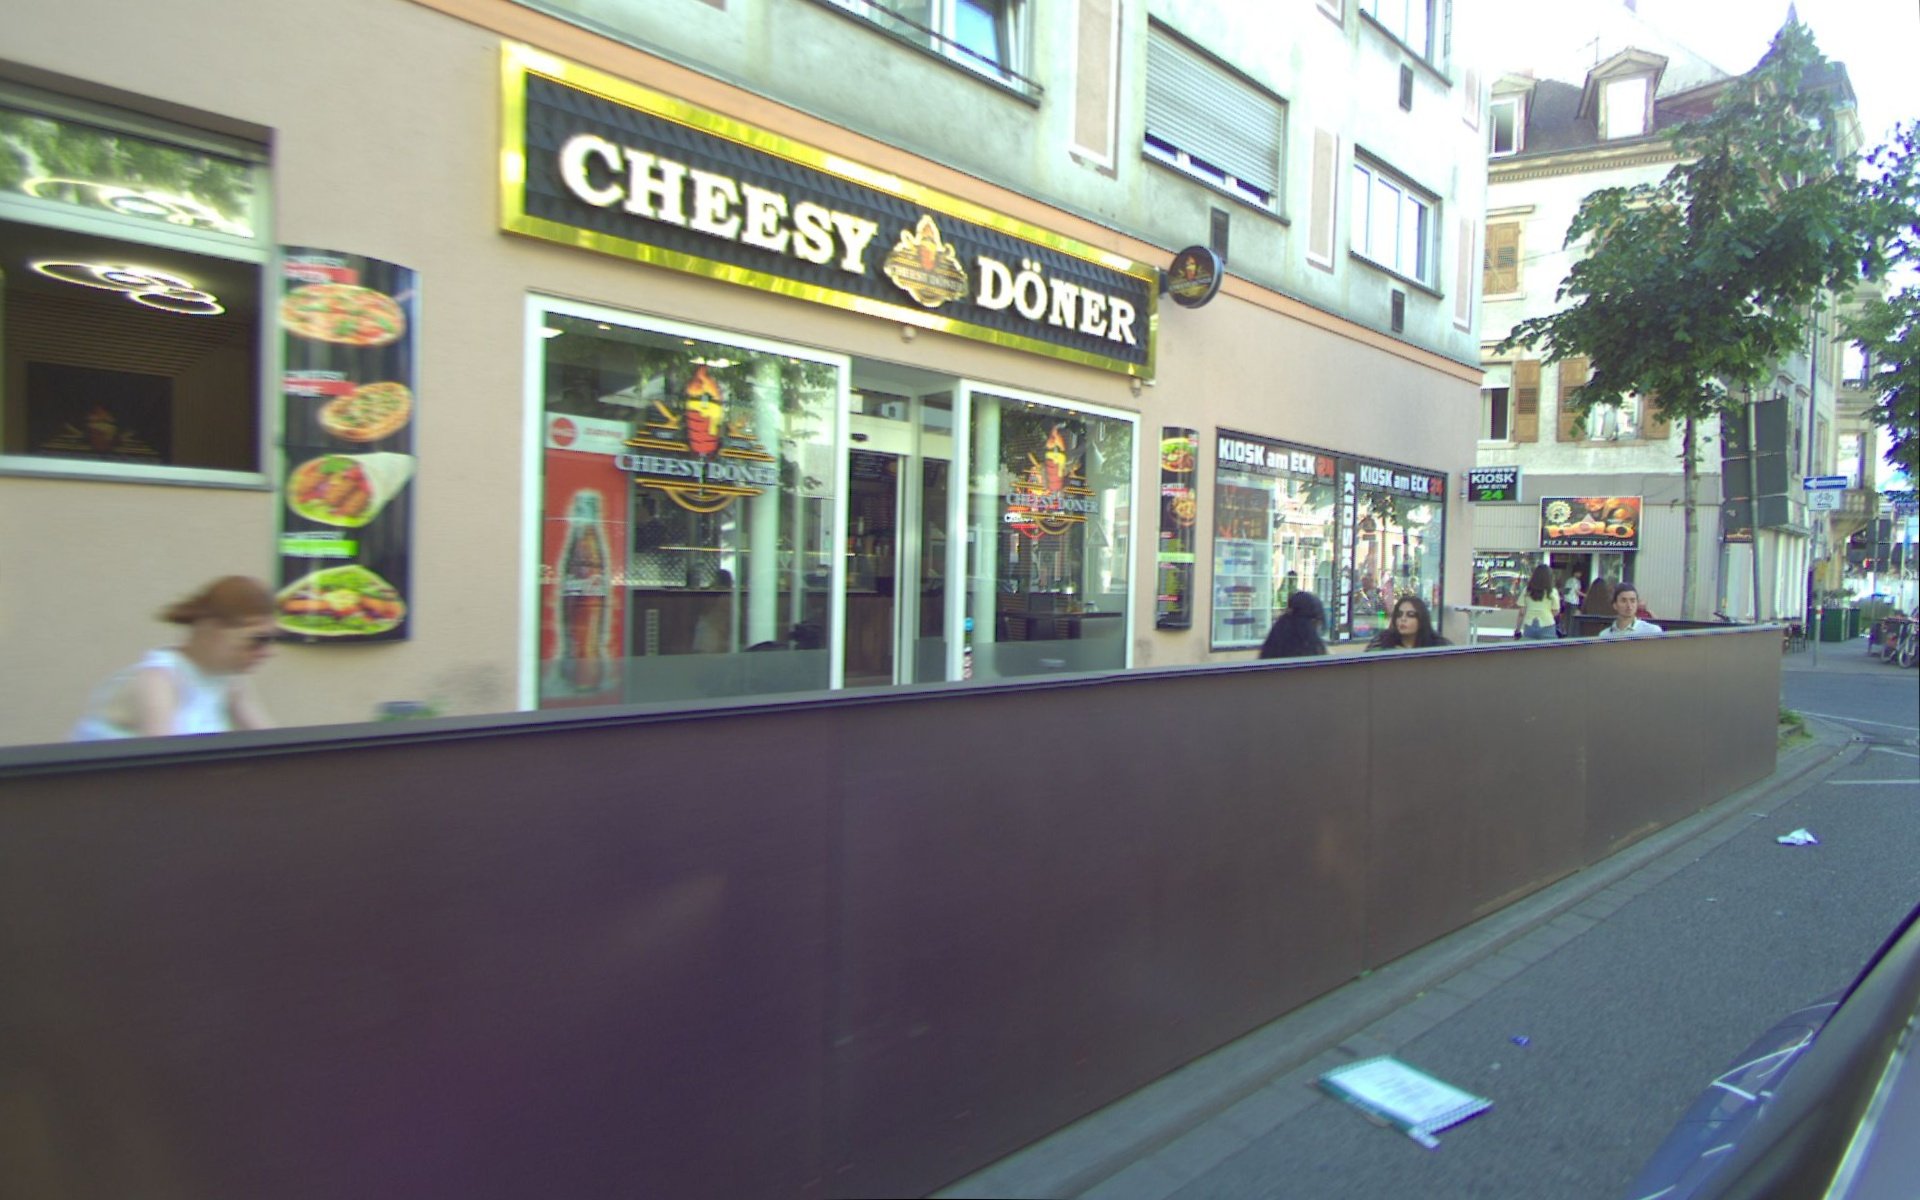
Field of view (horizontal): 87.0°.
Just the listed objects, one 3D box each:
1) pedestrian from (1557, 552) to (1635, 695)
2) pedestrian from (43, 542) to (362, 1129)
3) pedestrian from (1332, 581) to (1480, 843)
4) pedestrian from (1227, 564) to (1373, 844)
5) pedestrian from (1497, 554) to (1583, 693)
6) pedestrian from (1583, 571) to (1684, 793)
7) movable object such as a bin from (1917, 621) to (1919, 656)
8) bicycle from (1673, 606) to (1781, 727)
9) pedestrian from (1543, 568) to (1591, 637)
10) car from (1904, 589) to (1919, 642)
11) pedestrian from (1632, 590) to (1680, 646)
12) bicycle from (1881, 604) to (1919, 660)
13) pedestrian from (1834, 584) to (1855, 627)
[{"bbox_3d":[7.766,0.272,12.350,0.736,1.665,0.514,1,4,-42],"label":"pedestrian"},{"bbox_3d":[-1.940,0.535,2.622,0.476,1.347,0.472,1,1,17],"label":"pedestrian"},{"bbox_3d":[2.572,0.600,5.843,0.584,1.396,0.553,0,1,-40],"label":"pedestrian"},{"bbox_3d":[1.802,0.509,5.362,0.584,1.379,0.474,0,1,-40],"label":"pedestrian"},{"bbox_3d":[7.353,0.279,12.825,0.736,1.665,0.643,1,4,-42],"label":"pedestrian"},{"bbox_3d":[4.926,0.566,7.407,0.454,1.548,0.474,0,1,-40],"label":"pedestrian"},{"bbox_3d":[23.144,0.732,23.683,0.686,1.228,0.944,-1,4,-40],"label":"movable object such as a bin"},{"bbox_3d":[8.391,0.671,11.032,2.108,1.178,0.508,0,3,-42],"label":"bicycle"},{"bbox_3d":[15.765,0.045,26.292,0.787,1.716,0.706,2,4,10],"label":"pedestrian"},{"bbox_3d":[28.476,0.487,28.859,4.087,1.435,1.834,0,4,-42],"label":"car"},{"bbox_3d":[16.779,0.435,24.408,0.701,1.274,0.589,2,4,10],"label":"pedestrian"},{"bbox_3d":[21.574,0.711,22.995,0.374,1.159,1.660,4,4,24],"label":"bicycle"},{"bbox_3d":[30.893,0.181,35.342,0.512,1.460,0.460,0,2,-42],"label":"pedestrian"}]
